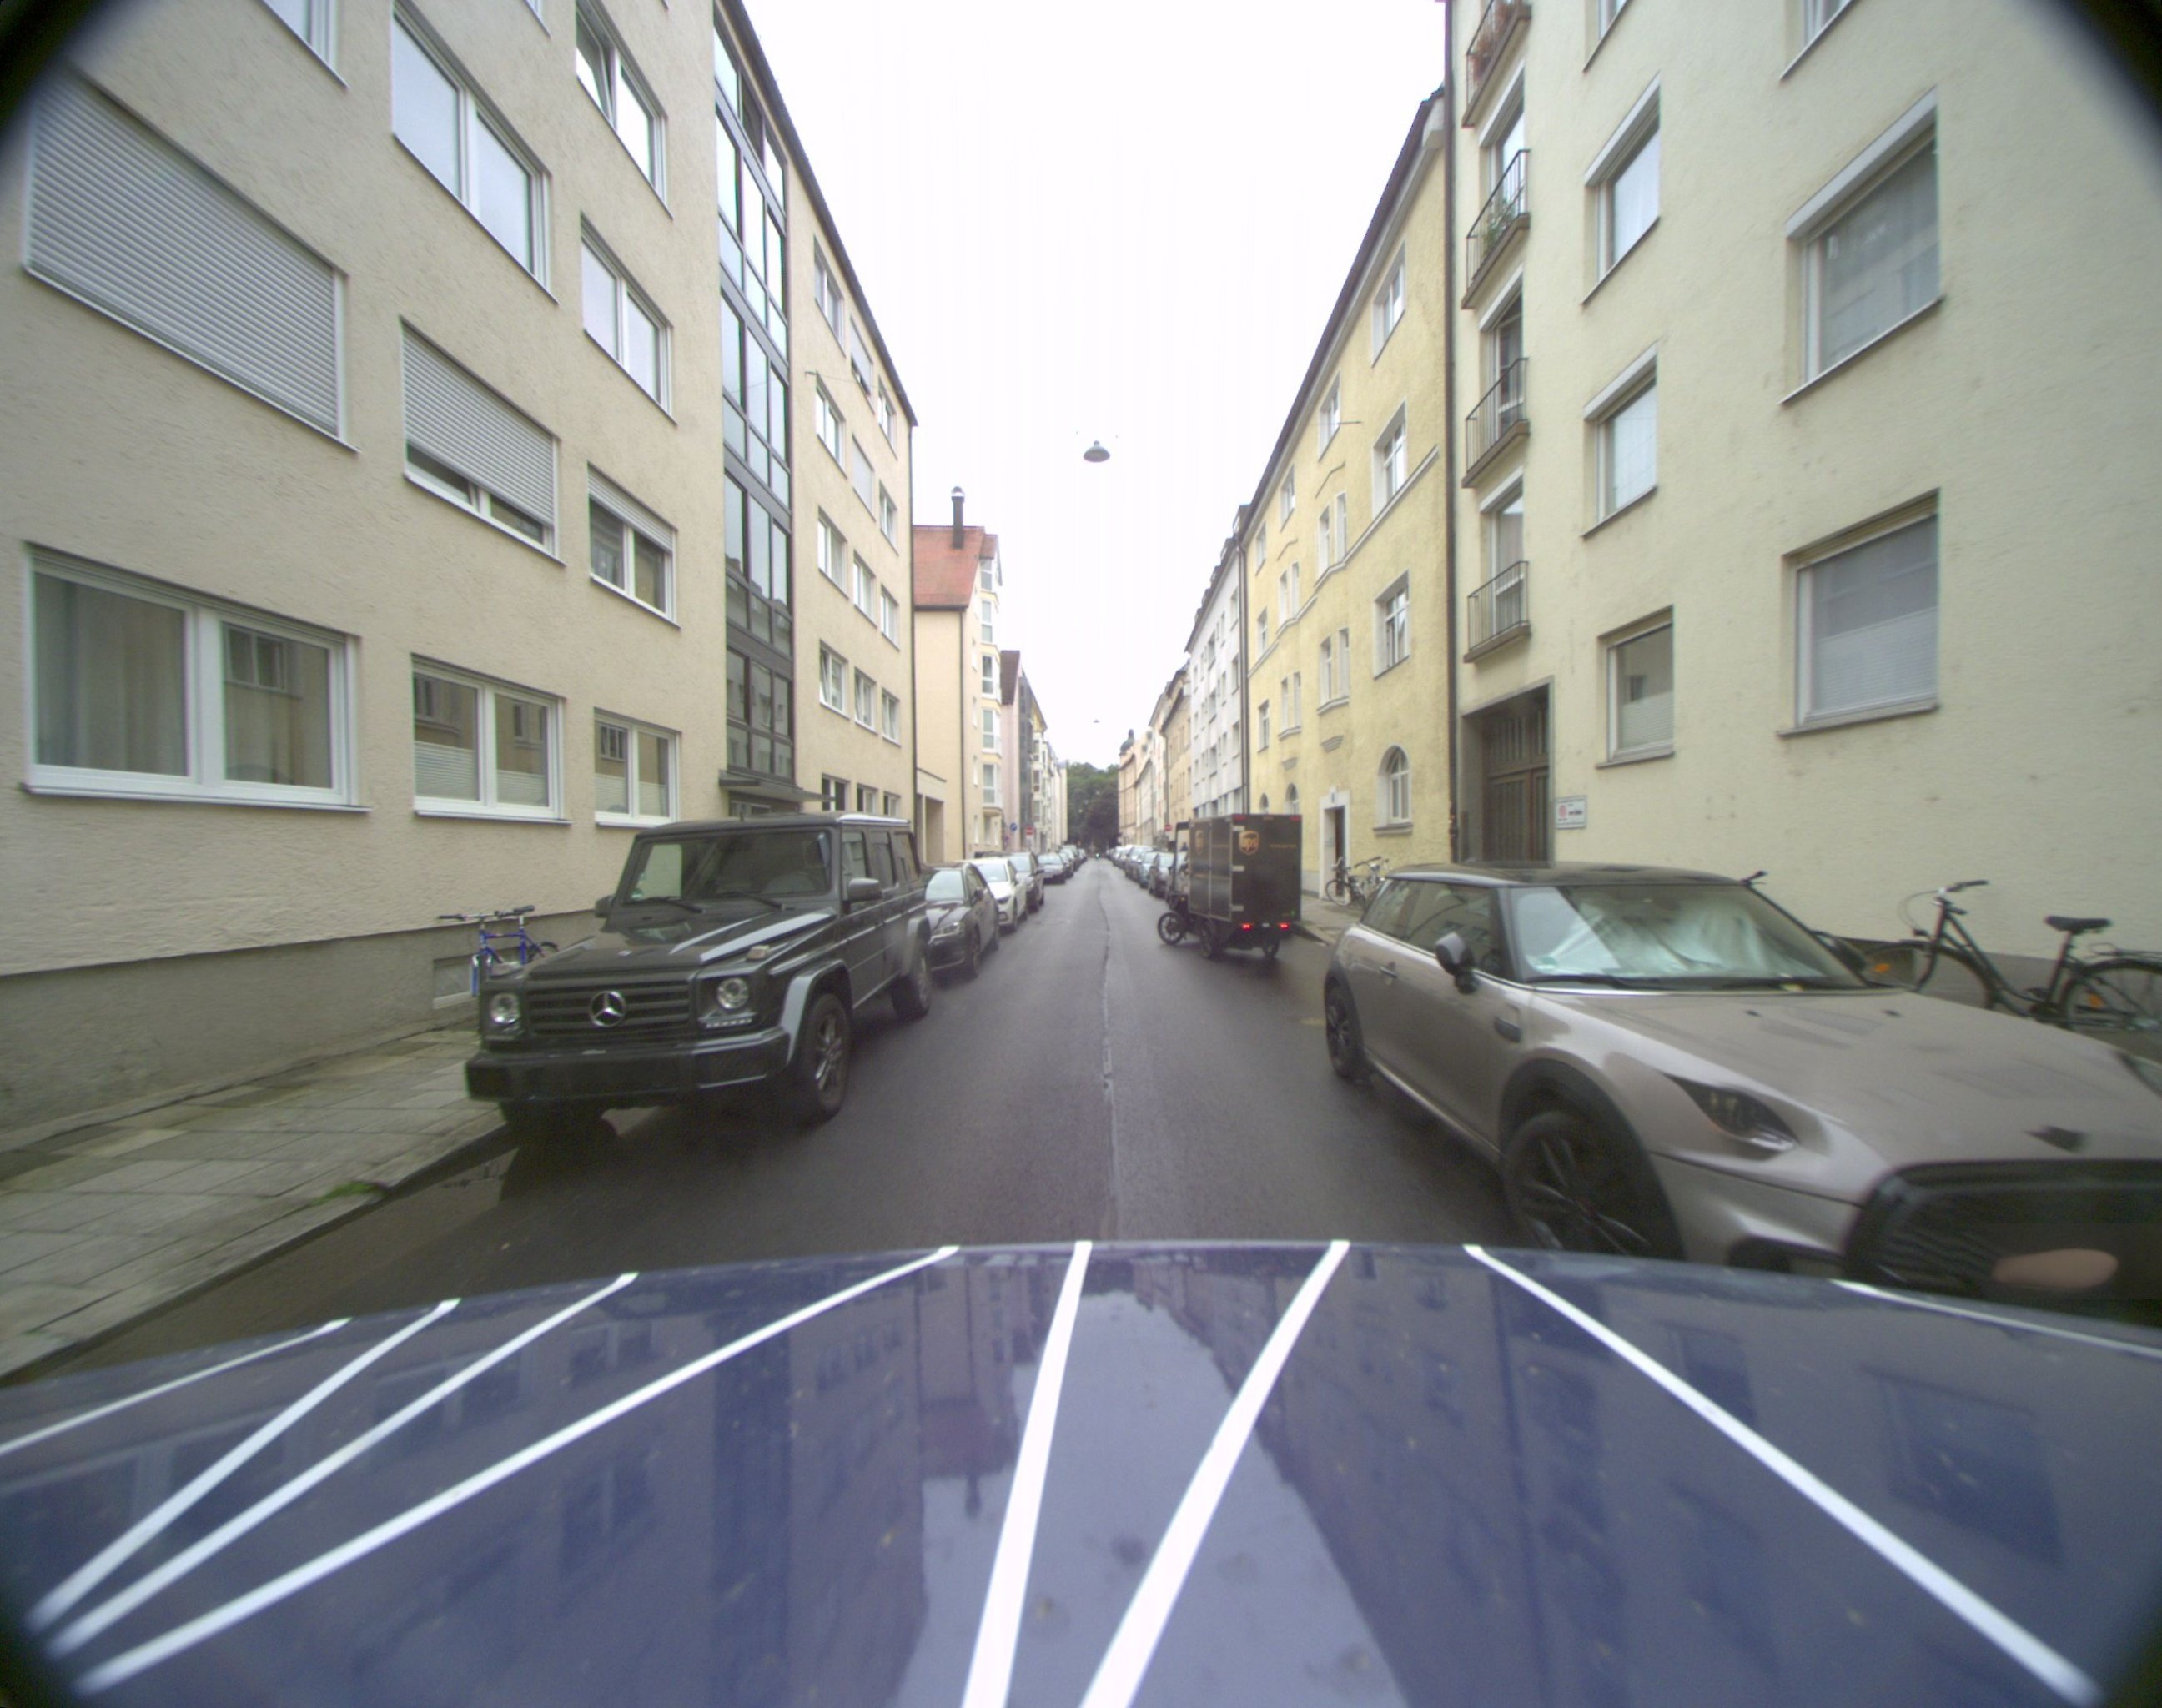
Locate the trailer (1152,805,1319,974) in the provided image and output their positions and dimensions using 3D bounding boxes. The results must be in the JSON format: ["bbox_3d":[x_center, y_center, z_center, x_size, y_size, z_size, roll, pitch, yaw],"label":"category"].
[{"bbox_3d":[2.128,0.422,11.284,1.359,2.104,3.315,-2,1,-8],"label":"trailer"}]

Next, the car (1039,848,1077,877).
[{"bbox_3d":[-1.266,0.443,42.912,1.837,1.398,4.411,-2,1,1],"label":"car"}]

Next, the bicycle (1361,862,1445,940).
[{"bbox_3d":[5.748,0.801,13.653,0.596,1.271,1.550,-4,1,-10],"label":"bicycle"}]

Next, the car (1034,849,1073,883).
[{"bbox_3d":[-1.296,0.520,37.038,1.721,1.463,4.530,-2,1,-1],"label":"car"}]

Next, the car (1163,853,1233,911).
[{"bbox_3d":[3.150,0.706,21.009,1.566,1.452,3.476,0,1,3],"label":"car"}]

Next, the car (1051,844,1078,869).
[{"bbox_3d":[-1.167,0.153,55.566,1.837,1.612,4.410,-2,1,0],"label":"car"}]

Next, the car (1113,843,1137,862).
[{"bbox_3d":[4.050,-0.144,70.211,1.785,1.596,4.307,1,0,-2],"label":"car"}]

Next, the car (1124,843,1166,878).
[{"bbox_3d":[3.423,0.295,41.558,1.867,1.760,4.734,1,1,0],"label":"car"}]

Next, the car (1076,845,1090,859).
[{"bbox_3d":[0.266,-0.332,99.930,1.739,1.743,3.685,-2,1,1],"label":"car"}]

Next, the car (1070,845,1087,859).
[{"bbox_3d":[-0.319,-0.255,84.320,1.749,1.433,4.227,-2,1,-2],"label":"car"}]

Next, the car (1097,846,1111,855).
[{"bbox_3d":[4.247,-0.689,138.437,1.800,1.501,3.996,1,1,-10],"label":"car"}]

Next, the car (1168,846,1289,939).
[{"bbox_3d":[2.885,0.656,15.778,1.883,1.650,4.415,0,1,3],"label":"car"}]

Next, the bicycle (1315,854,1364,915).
[{"bbox_3d":[5.800,0.655,17.136,0.536,1.271,1.551,-3,1,0],"label":"bicycle"}]

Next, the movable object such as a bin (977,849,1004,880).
[{"bbox_3d":[-4.279,0.476,35.958,1.034,1.415,1.586,1,1,1],"label":"movable object such as a bin"}]

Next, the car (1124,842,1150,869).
[{"bbox_3d":[4.034,0.076,55.411,1.728,1.779,4.248,1,2,3],"label":"car"}]

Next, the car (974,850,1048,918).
[{"bbox_3d":[-1.851,0.755,21.238,1.716,1.599,4.243,-2,1,-1],"label":"car"}]

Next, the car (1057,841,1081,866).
[{"bbox_3d":[-1.038,-0.074,66.702,1.877,2.002,5.105,-2,1,1],"label":"car"}]

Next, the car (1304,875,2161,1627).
[{"bbox_3d":[2.351,0.886,3.479,1.656,1.427,3.802,0,1,2],"label":"car"}]

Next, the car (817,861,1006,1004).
[{"bbox_3d":[-2.159,0.920,10.852,1.716,1.477,4.243,-2,1,0],"label":"car"}]

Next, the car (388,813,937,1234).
[{"bbox_3d":[-2.449,0.827,5.884,1.755,1.964,4.342,-3,0,0],"label":"car"}]

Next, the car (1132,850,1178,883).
[{"bbox_3d":[3.469,0.553,36.427,1.816,1.378,4.250,1,1,0],"label":"car"}]

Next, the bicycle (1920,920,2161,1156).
[{"bbox_3d":[5.535,0.926,3.758,0.732,1.021,1.813,-2,0,-1],"label":"bicycle"}]

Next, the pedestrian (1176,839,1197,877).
[{"bbox_3d":[5.085,0.184,36.744,0.841,1.754,1.067,-2,1,1],"label":"pedestrian"}]

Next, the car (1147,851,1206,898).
[{"bbox_3d":[3.156,0.645,25.722,1.567,1.452,3.763,0,1,0],"label":"car"}]

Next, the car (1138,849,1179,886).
[{"bbox_3d":[3.176,0.531,31.658,1.566,1.452,3.404,0,1,3],"label":"car"}]

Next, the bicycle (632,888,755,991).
[{"bbox_3d":[-5.021,1.068,9.985,0.656,1.100,1.760,3,1,1],"label":"bicycle"}]

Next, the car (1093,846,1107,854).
[{"bbox_3d":[3.532,-0.776,142.642,1.800,1.501,3.996,1,1,-10],"label":"car"}]

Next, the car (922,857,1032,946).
[{"bbox_3d":[-2.052,0.879,16.088,1.716,1.477,4.243,-2,1,0],"label":"car"}]

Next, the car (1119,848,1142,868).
[{"bbox_3d":[3.939,0.284,60.767,1.676,1.467,4.112,1,1,2],"label":"car"}]

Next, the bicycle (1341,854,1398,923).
[{"bbox_3d":[5.834,0.672,15.435,0.536,1.271,1.551,-3,1,0],"label":"bicycle"}]

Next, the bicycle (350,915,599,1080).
[{"bbox_3d":[-5.068,1.138,6.527,0.645,1.023,1.797,3,1,1],"label":"bicycle"}]

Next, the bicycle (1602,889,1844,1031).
[{"bbox_3d":[5.692,0.883,6.907,0.696,1.021,1.814,-2,0,3],"label":"bicycle"}]
